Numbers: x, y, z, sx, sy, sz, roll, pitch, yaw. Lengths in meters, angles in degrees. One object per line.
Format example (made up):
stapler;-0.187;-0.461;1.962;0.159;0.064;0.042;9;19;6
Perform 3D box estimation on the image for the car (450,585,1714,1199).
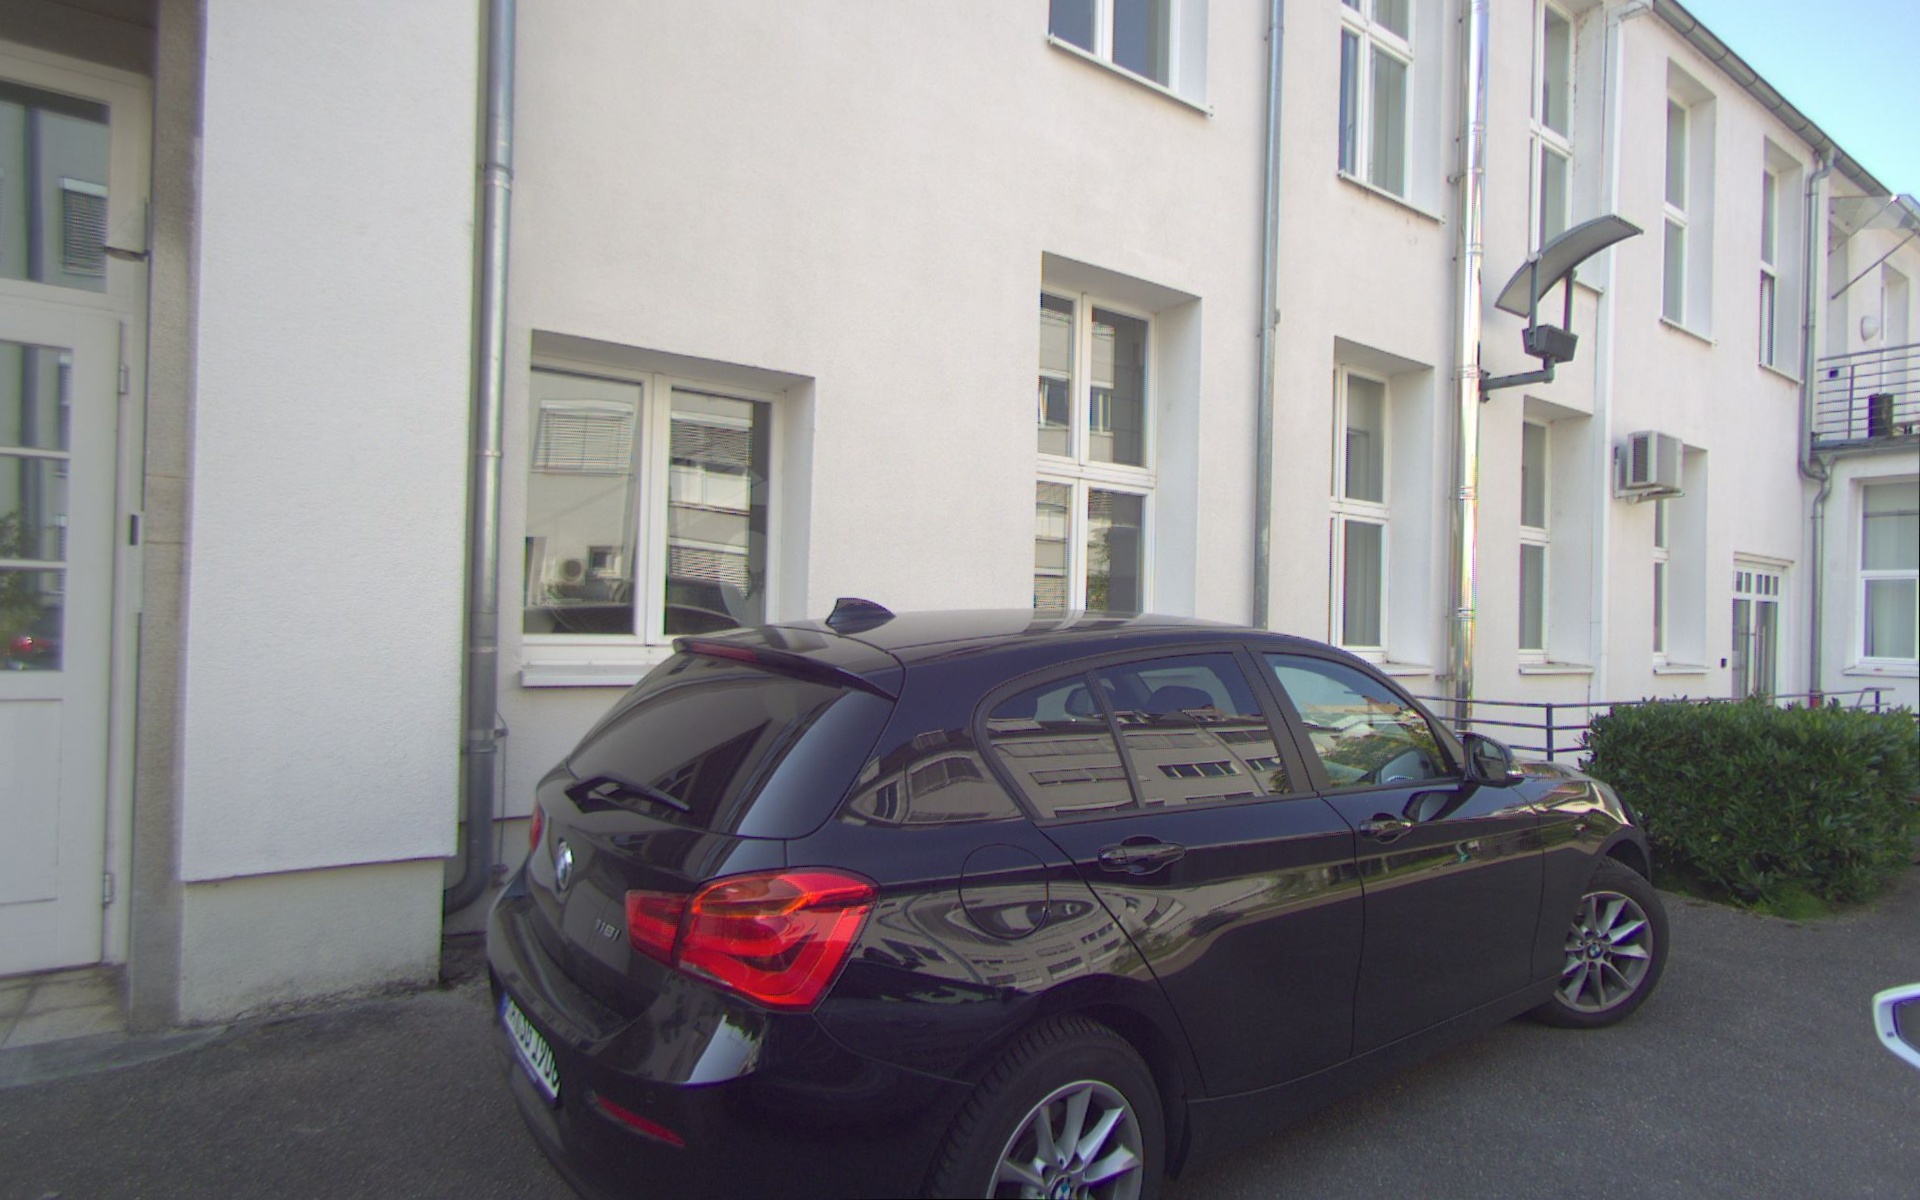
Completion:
car;0.736;0.750;3.355;4.098;1.447;1.780;2;0;-37
